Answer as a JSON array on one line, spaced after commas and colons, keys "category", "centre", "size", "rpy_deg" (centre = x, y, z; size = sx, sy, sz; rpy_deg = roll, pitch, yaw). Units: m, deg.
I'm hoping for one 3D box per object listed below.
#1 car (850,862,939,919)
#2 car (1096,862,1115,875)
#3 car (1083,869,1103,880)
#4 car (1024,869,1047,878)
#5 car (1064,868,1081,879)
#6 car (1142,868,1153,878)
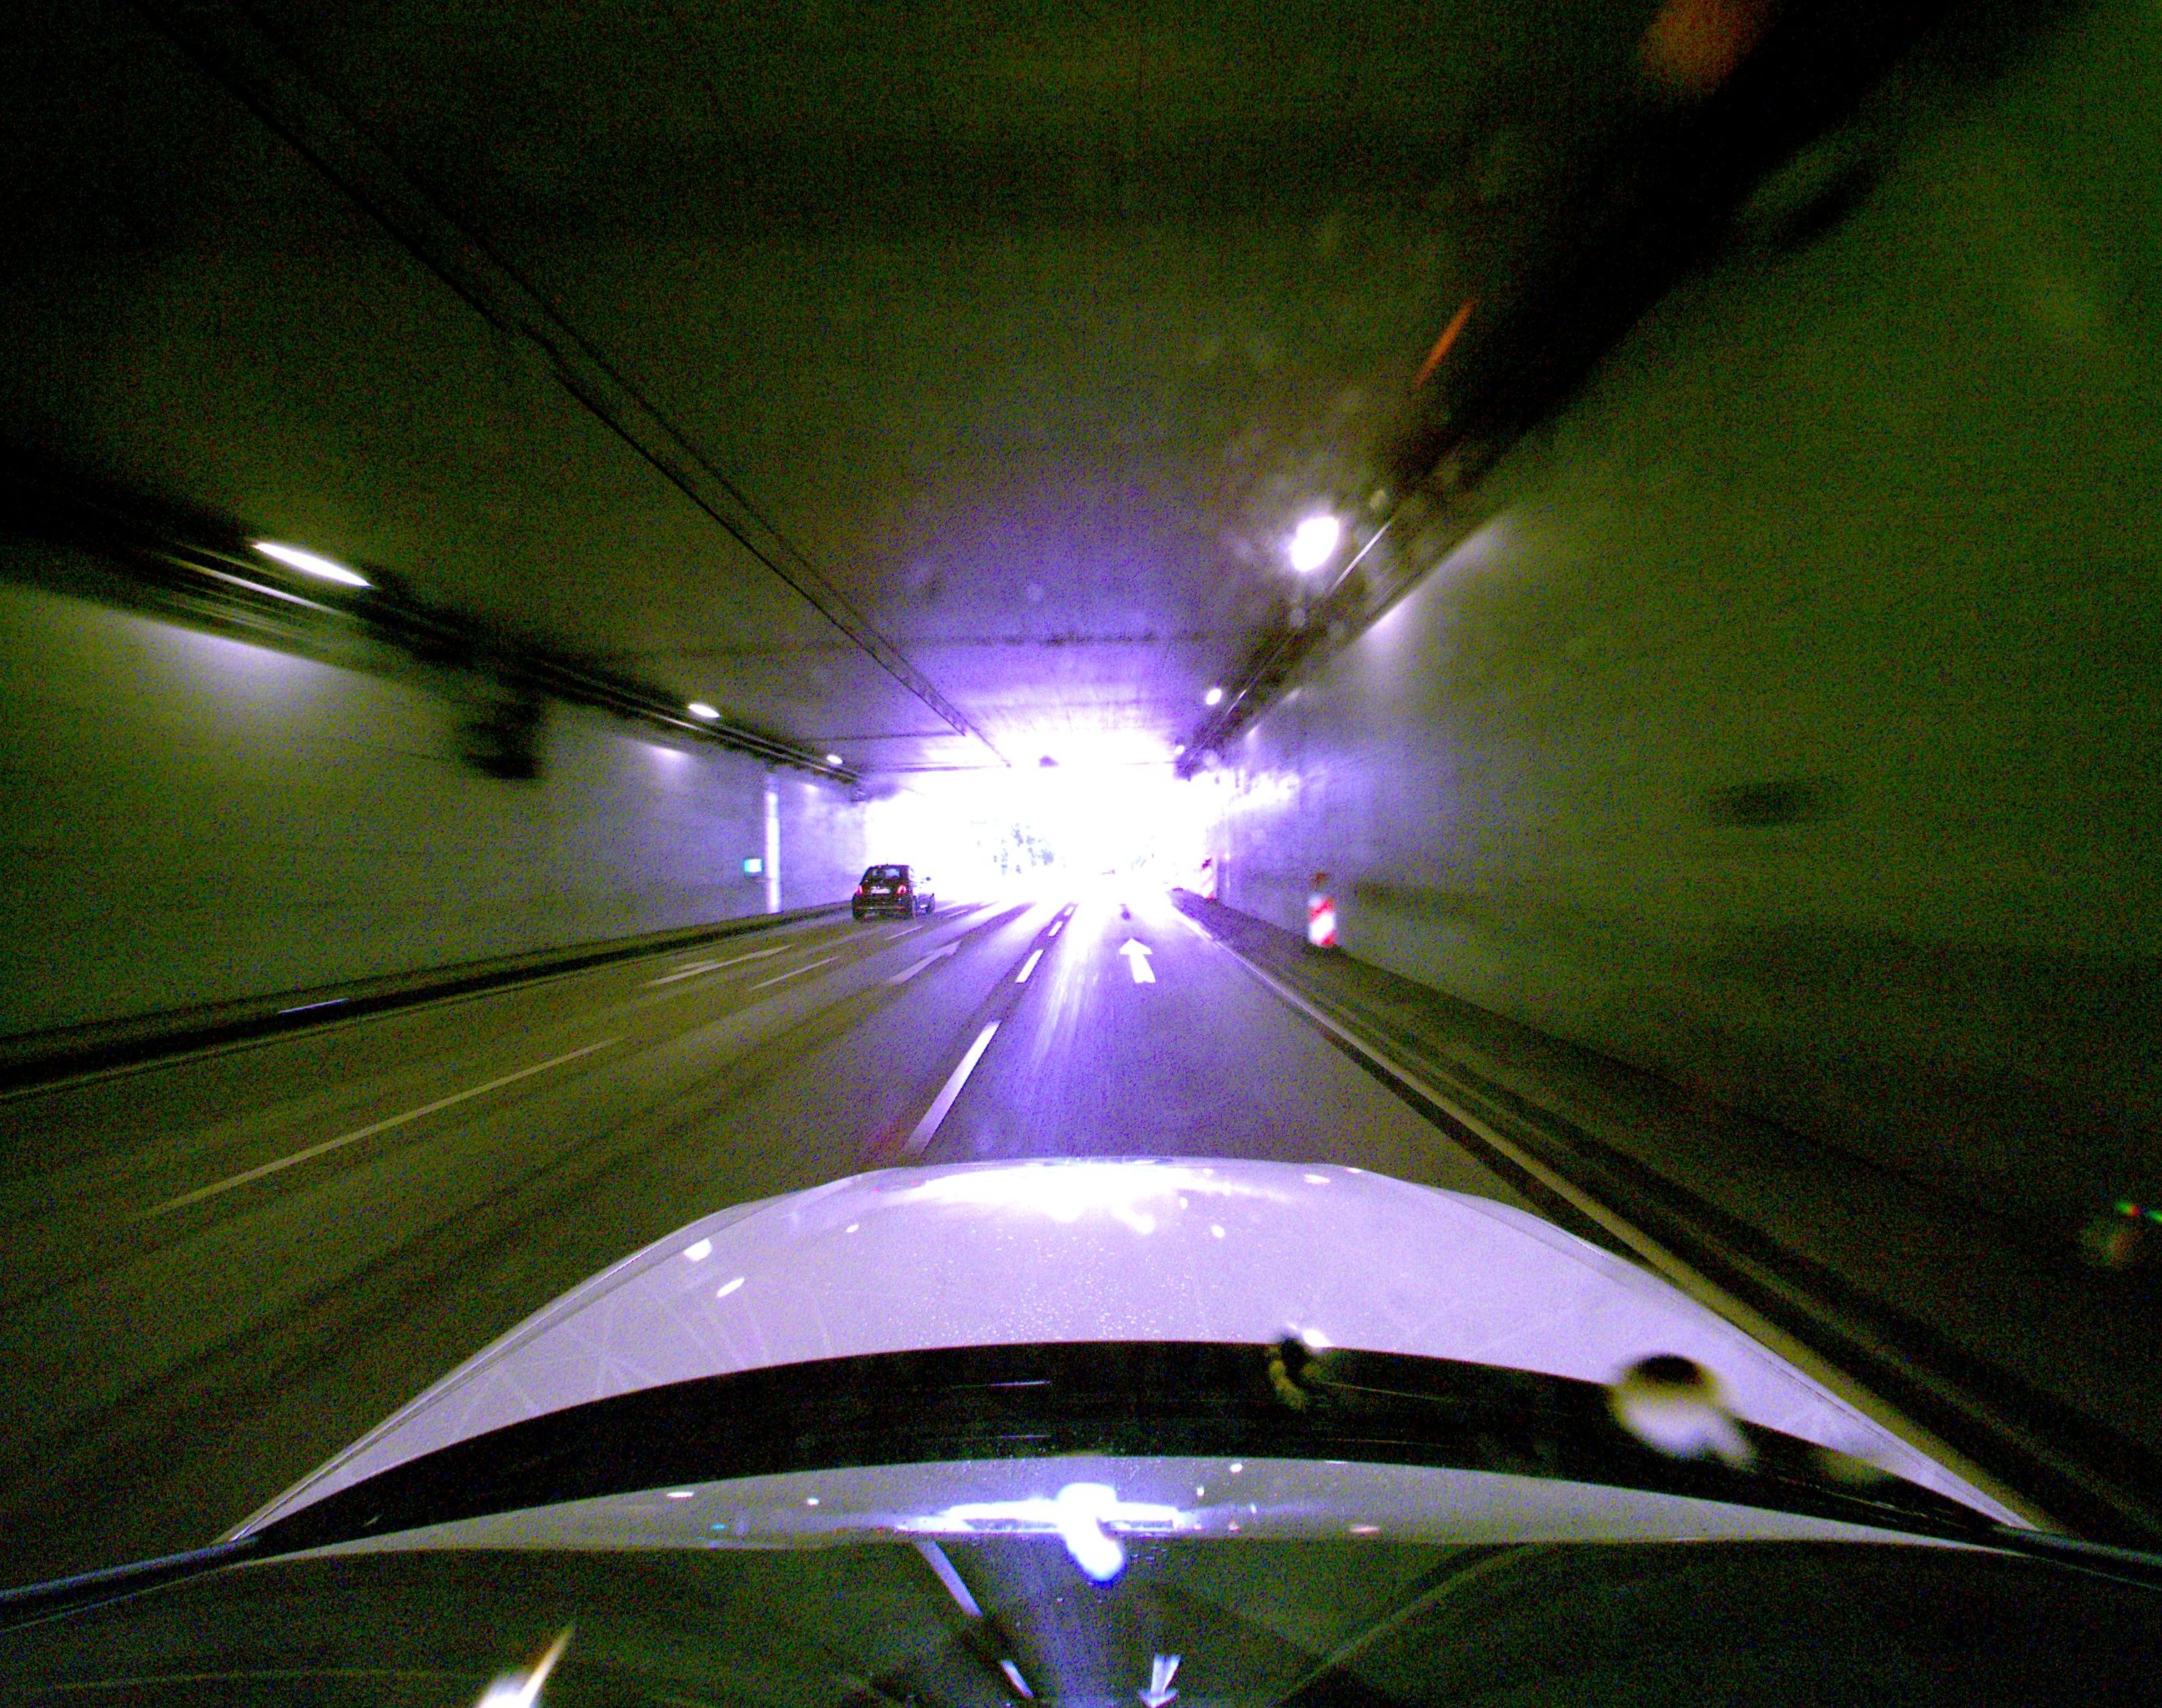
[{"category": "car", "centre": [-5.130, 0.972, 22.832], "size": [1.606, 1.454, 3.573], "rpy_deg": [0, 0, 1]}, {"category": "car", "centre": [2.762, 1.660, 92.142], "size": [1.986, 1.448, 4.314], "rpy_deg": [-2, -2, 1]}, {"category": "car", "centre": [1.834, 3.202, 128.710], "size": [1.898, 1.684, 3.972], "rpy_deg": [-1, -1, -21]}, {"category": "car", "centre": [-8.146, 3.464, 145.183], "size": [3.949, 1.514, 1.909], "rpy_deg": [-3, 0, 43]}, {"category": "car", "centre": [-1.491, 3.315, 136.985], "size": [1.894, 1.684, 3.981], "rpy_deg": [-3, 0, -14]}, {"category": "car", "centre": [13.170, 3.767, 161.941], "size": [1.986, 2.014, 4.001], "rpy_deg": [-2, -1, 2]}]
